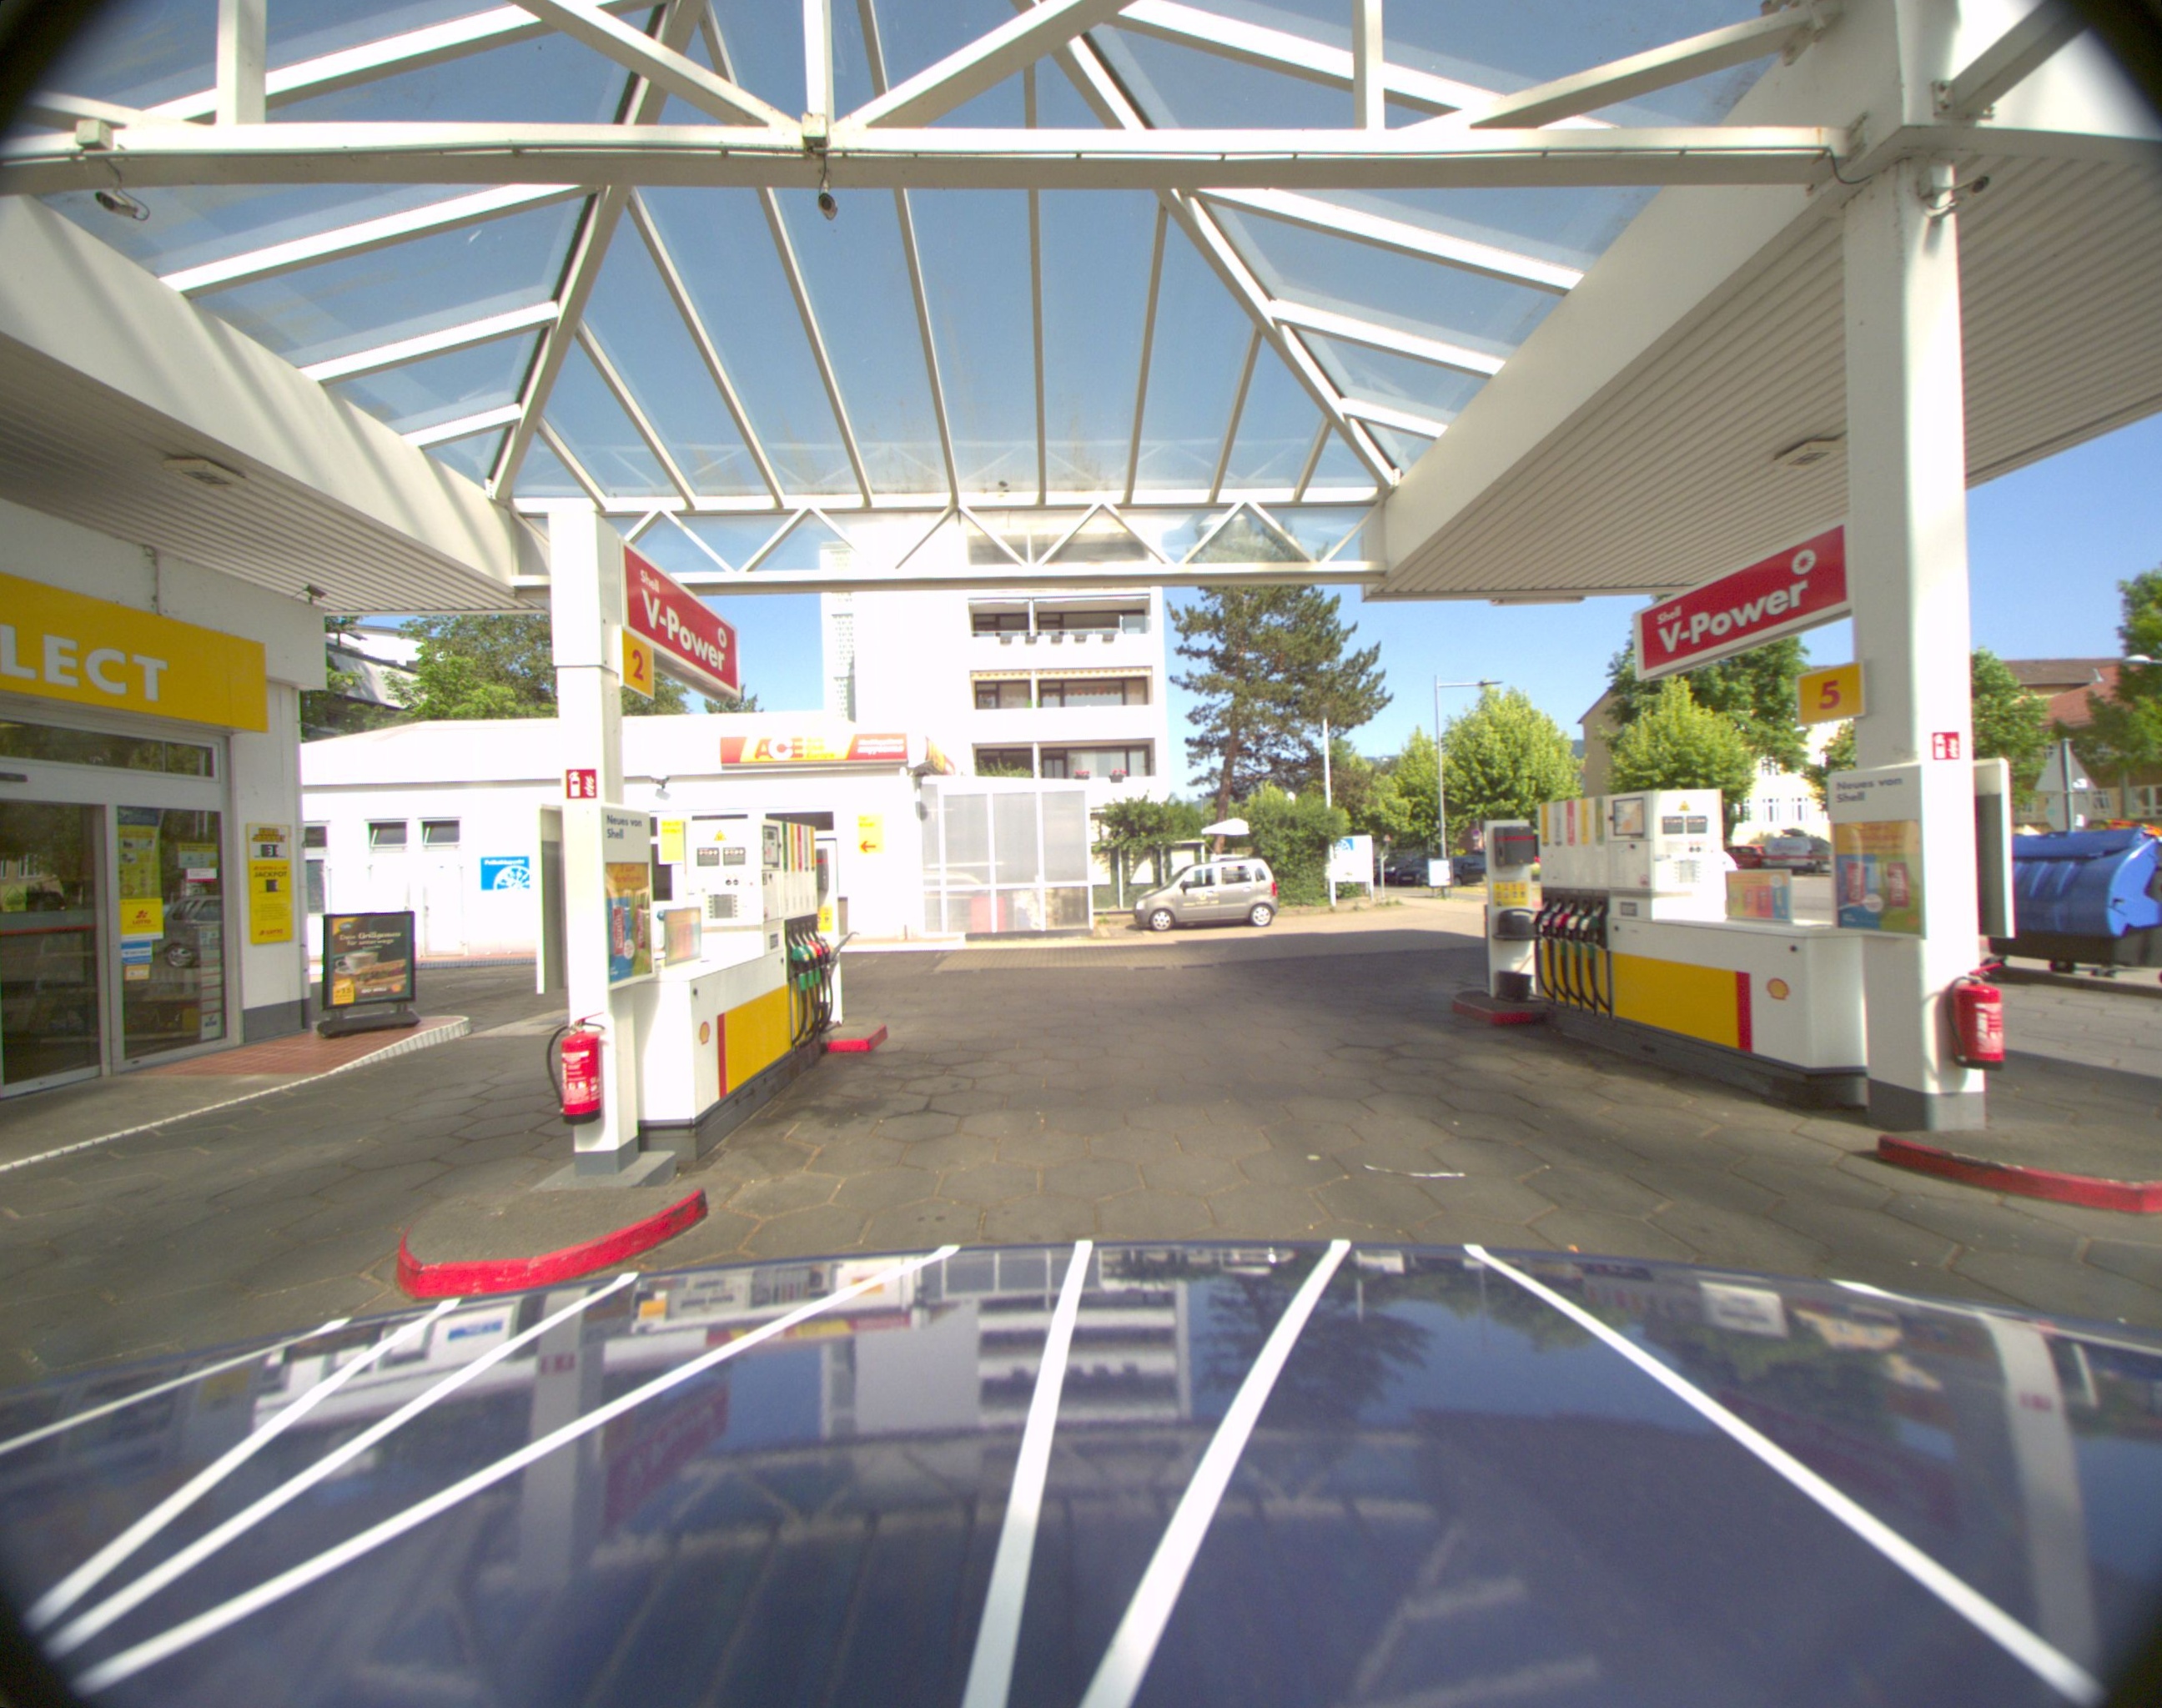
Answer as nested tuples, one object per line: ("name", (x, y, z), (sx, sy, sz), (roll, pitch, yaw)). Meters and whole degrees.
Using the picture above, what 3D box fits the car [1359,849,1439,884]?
("car", (16.552, 0.611, 39.476), (4.411, 1.710, 1.700), (-1, 0, -35))

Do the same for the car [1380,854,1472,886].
("car", (16.819, 0.732, 37.000), (4.232, 1.473, 1.877), (0, 0, -28))

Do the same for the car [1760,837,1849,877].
("car", (33.397, 0.117, 35.071), (4.233, 1.712, 1.877), (0, 1, -31))

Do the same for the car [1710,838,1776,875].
("car", (33.115, 0.105, 37.977), (4.234, 1.712, 1.876), (0, 1, -41))

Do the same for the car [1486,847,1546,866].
("car", (32.519, 0.187, 56.824), (3.730, 1.383, 1.878), (0, 0, -20))

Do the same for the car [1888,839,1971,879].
("car", (33.576, 0.172, 30.039), (4.234, 1.451, 1.876), (0, 1, -37))

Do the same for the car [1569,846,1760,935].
("car", (13.243, 0.753, 17.208), (4.314, 1.696, 1.957), (-2, -1, -31))

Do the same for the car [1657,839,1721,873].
("car", (31.865, 0.096, 39.789), (4.234, 1.712, 1.876), (0, 1, -41))

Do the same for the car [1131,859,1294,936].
("car", (3.154, 1.031, 18.753), (3.660, 1.607, 1.692), (-3, 0, 0))

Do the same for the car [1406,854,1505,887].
("car", (16.842, 0.721, 34.156), (4.232, 1.408, 1.877), (0, 0, -28))

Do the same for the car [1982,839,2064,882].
("car", (33.745, 0.221, 27.190), (4.234, 1.451, 1.737), (0, 0, -37))

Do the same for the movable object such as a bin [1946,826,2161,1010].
("movable object such as a bin", (10.090, 0.587, 7.590), (1.342, 1.678, 1.337), (0, 0, 0))
